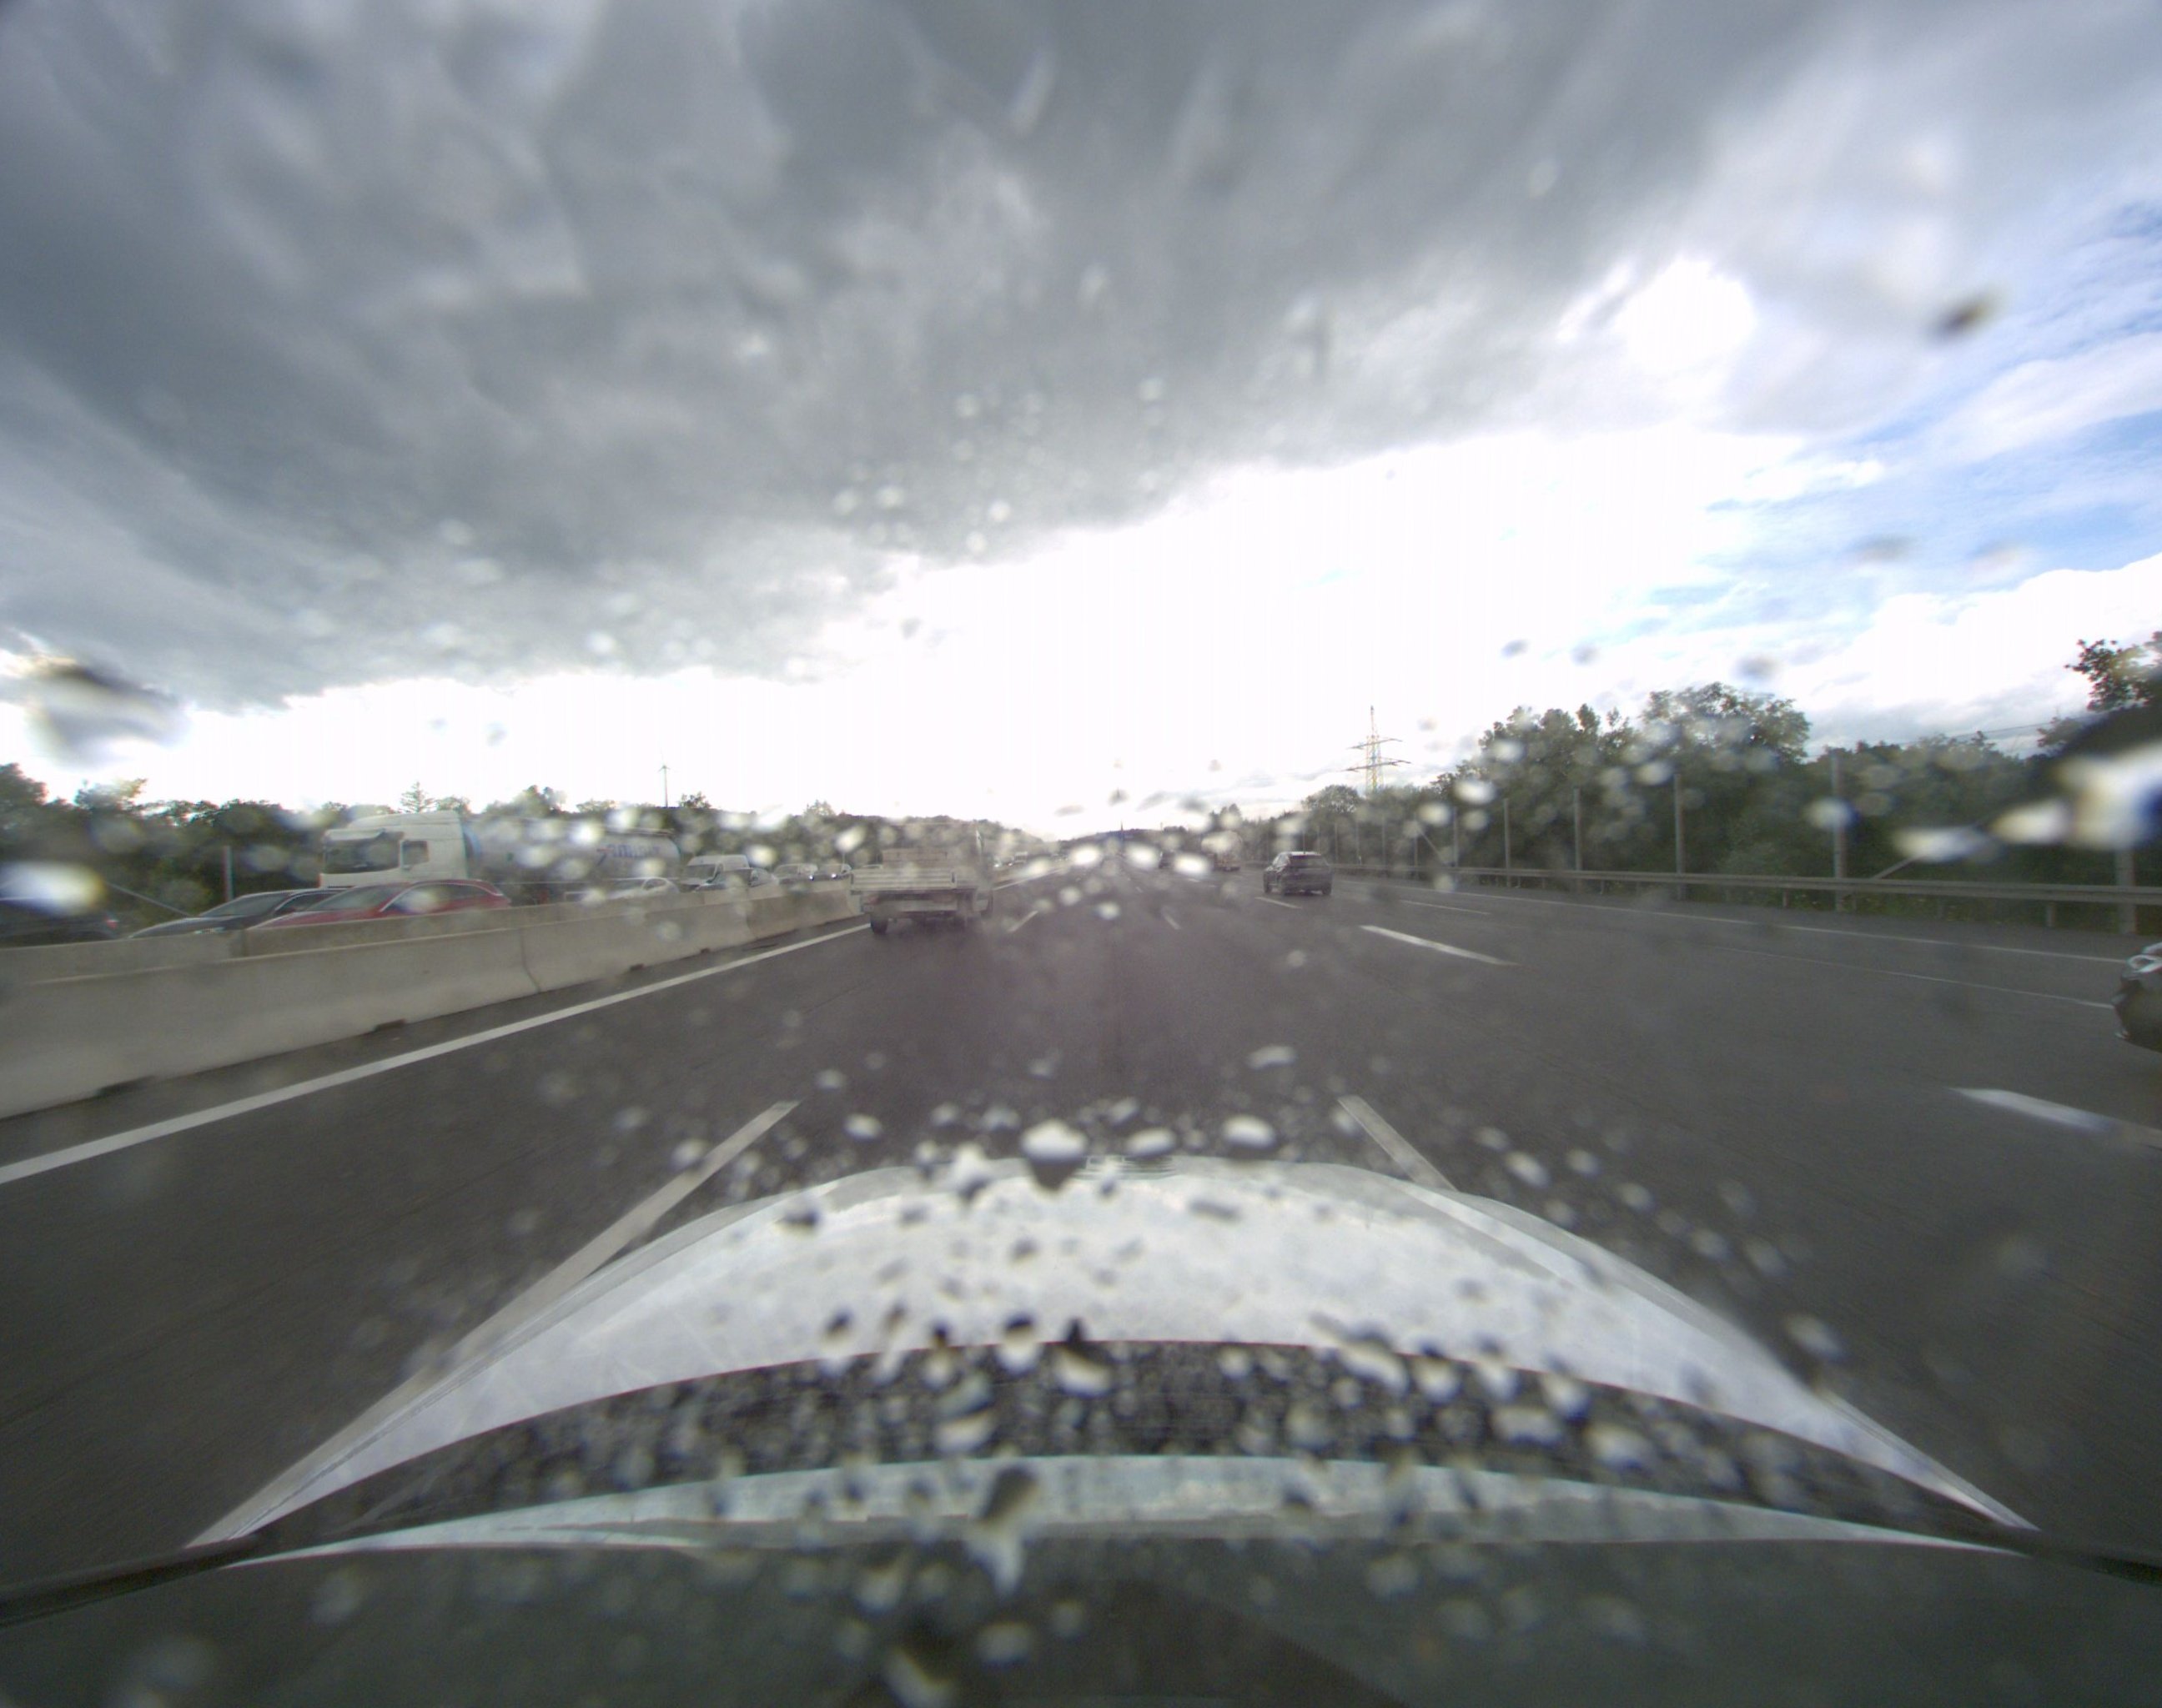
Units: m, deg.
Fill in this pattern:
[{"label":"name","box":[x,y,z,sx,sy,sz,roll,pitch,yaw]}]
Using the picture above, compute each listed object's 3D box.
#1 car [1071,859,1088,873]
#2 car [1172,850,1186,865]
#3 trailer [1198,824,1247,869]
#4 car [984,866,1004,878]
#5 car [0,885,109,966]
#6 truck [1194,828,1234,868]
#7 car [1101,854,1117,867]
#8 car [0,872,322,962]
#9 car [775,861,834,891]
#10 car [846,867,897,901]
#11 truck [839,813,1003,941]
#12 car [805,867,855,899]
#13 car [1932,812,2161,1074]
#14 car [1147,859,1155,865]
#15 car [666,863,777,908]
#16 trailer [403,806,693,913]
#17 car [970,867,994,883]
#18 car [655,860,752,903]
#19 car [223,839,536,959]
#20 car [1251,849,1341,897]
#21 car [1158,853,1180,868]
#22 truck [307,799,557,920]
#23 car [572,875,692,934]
[{"label":"car","box":[-0.150,1.557,103.383,2.037,1.699,4.001,-1,0,2]},{"label":"car","box":[16.844,0.663,140.410,2.037,2.498,4.001,-1,0,2]},{"label":"trailer","box":[14.172,-0.666,82.750,3.320,4.176,11.843,-1,0,2]},{"label":"car","box":[-11.003,2.297,103.734,1.843,1.477,5.083,-1,0,2]},{"label":"car","box":[-21.568,1.405,15.366,1.587,1.503,4.001,-1,-1,2]},{"label":"truck","box":[14.369,-0.616,88.659,3.320,4.080,8.275,-1,0,2]},{"label":"car","box":[3.762,0.907,109.978,2.037,1.699,4.003,-1,0,2]},{"label":"car","box":[-18.214,1.152,16.344,1.793,1.503,4.353,-1,-1,2]},{"label":"car","box":[-19.175,1.510,56.803,2.108,1.937,5.441,-1,0,2]},{"label":"car","box":[-12.647,1.783,49.431,1.886,1.953,4.214,-1,0,2]},{"label":"truck","box":[-3.380,0.439,19.106,2.345,2.408,7.357,0,0,0]},{"label":"car","box":[-16.280,1.819,52.937,1.886,1.953,4.002,-1,0,2]},{"label":"car","box":[7.632,0.526,3.822,2.097,1.605,5.068,-1,0,2]},{"label":"car","box":[19.500,2.251,228.593,1.986,1.750,4.498,-1,-1,2]},{"label":"car","box":[-13.191,1.097,30.227,1.758,1.484,4.974,-1,-1,2]},{"label":"trailer","box":[-20.952,0.213,33.868,2.700,3.526,13.615,-1,0,2]},{"label":"car","box":[-10.974,2.295,90.331,1.887,1.624,4.847,-1,0,2]},{"label":"car","box":[-20.694,1.430,45.059,2.108,2.149,6.621,-1,0,2]},{"label":"car","box":[-13.290,0.759,15.966,1.856,1.969,4.808,-1,0,2]},{"label":"car","box":[8.115,0.675,31.275,2.039,1.699,5.004,-1,0,-1]},{"label":"car","box":[10.637,0.799,98.882,2.092,1.699,3.997,-1,0,-2]},{"label":"truck","box":[-21.183,0.168,27.209,2.718,3.514,6.802,-1,0,2]},{"label":"car","box":[-17.275,1.880,31.687,1.719,1.969,5.045,-1,0,2]}]
